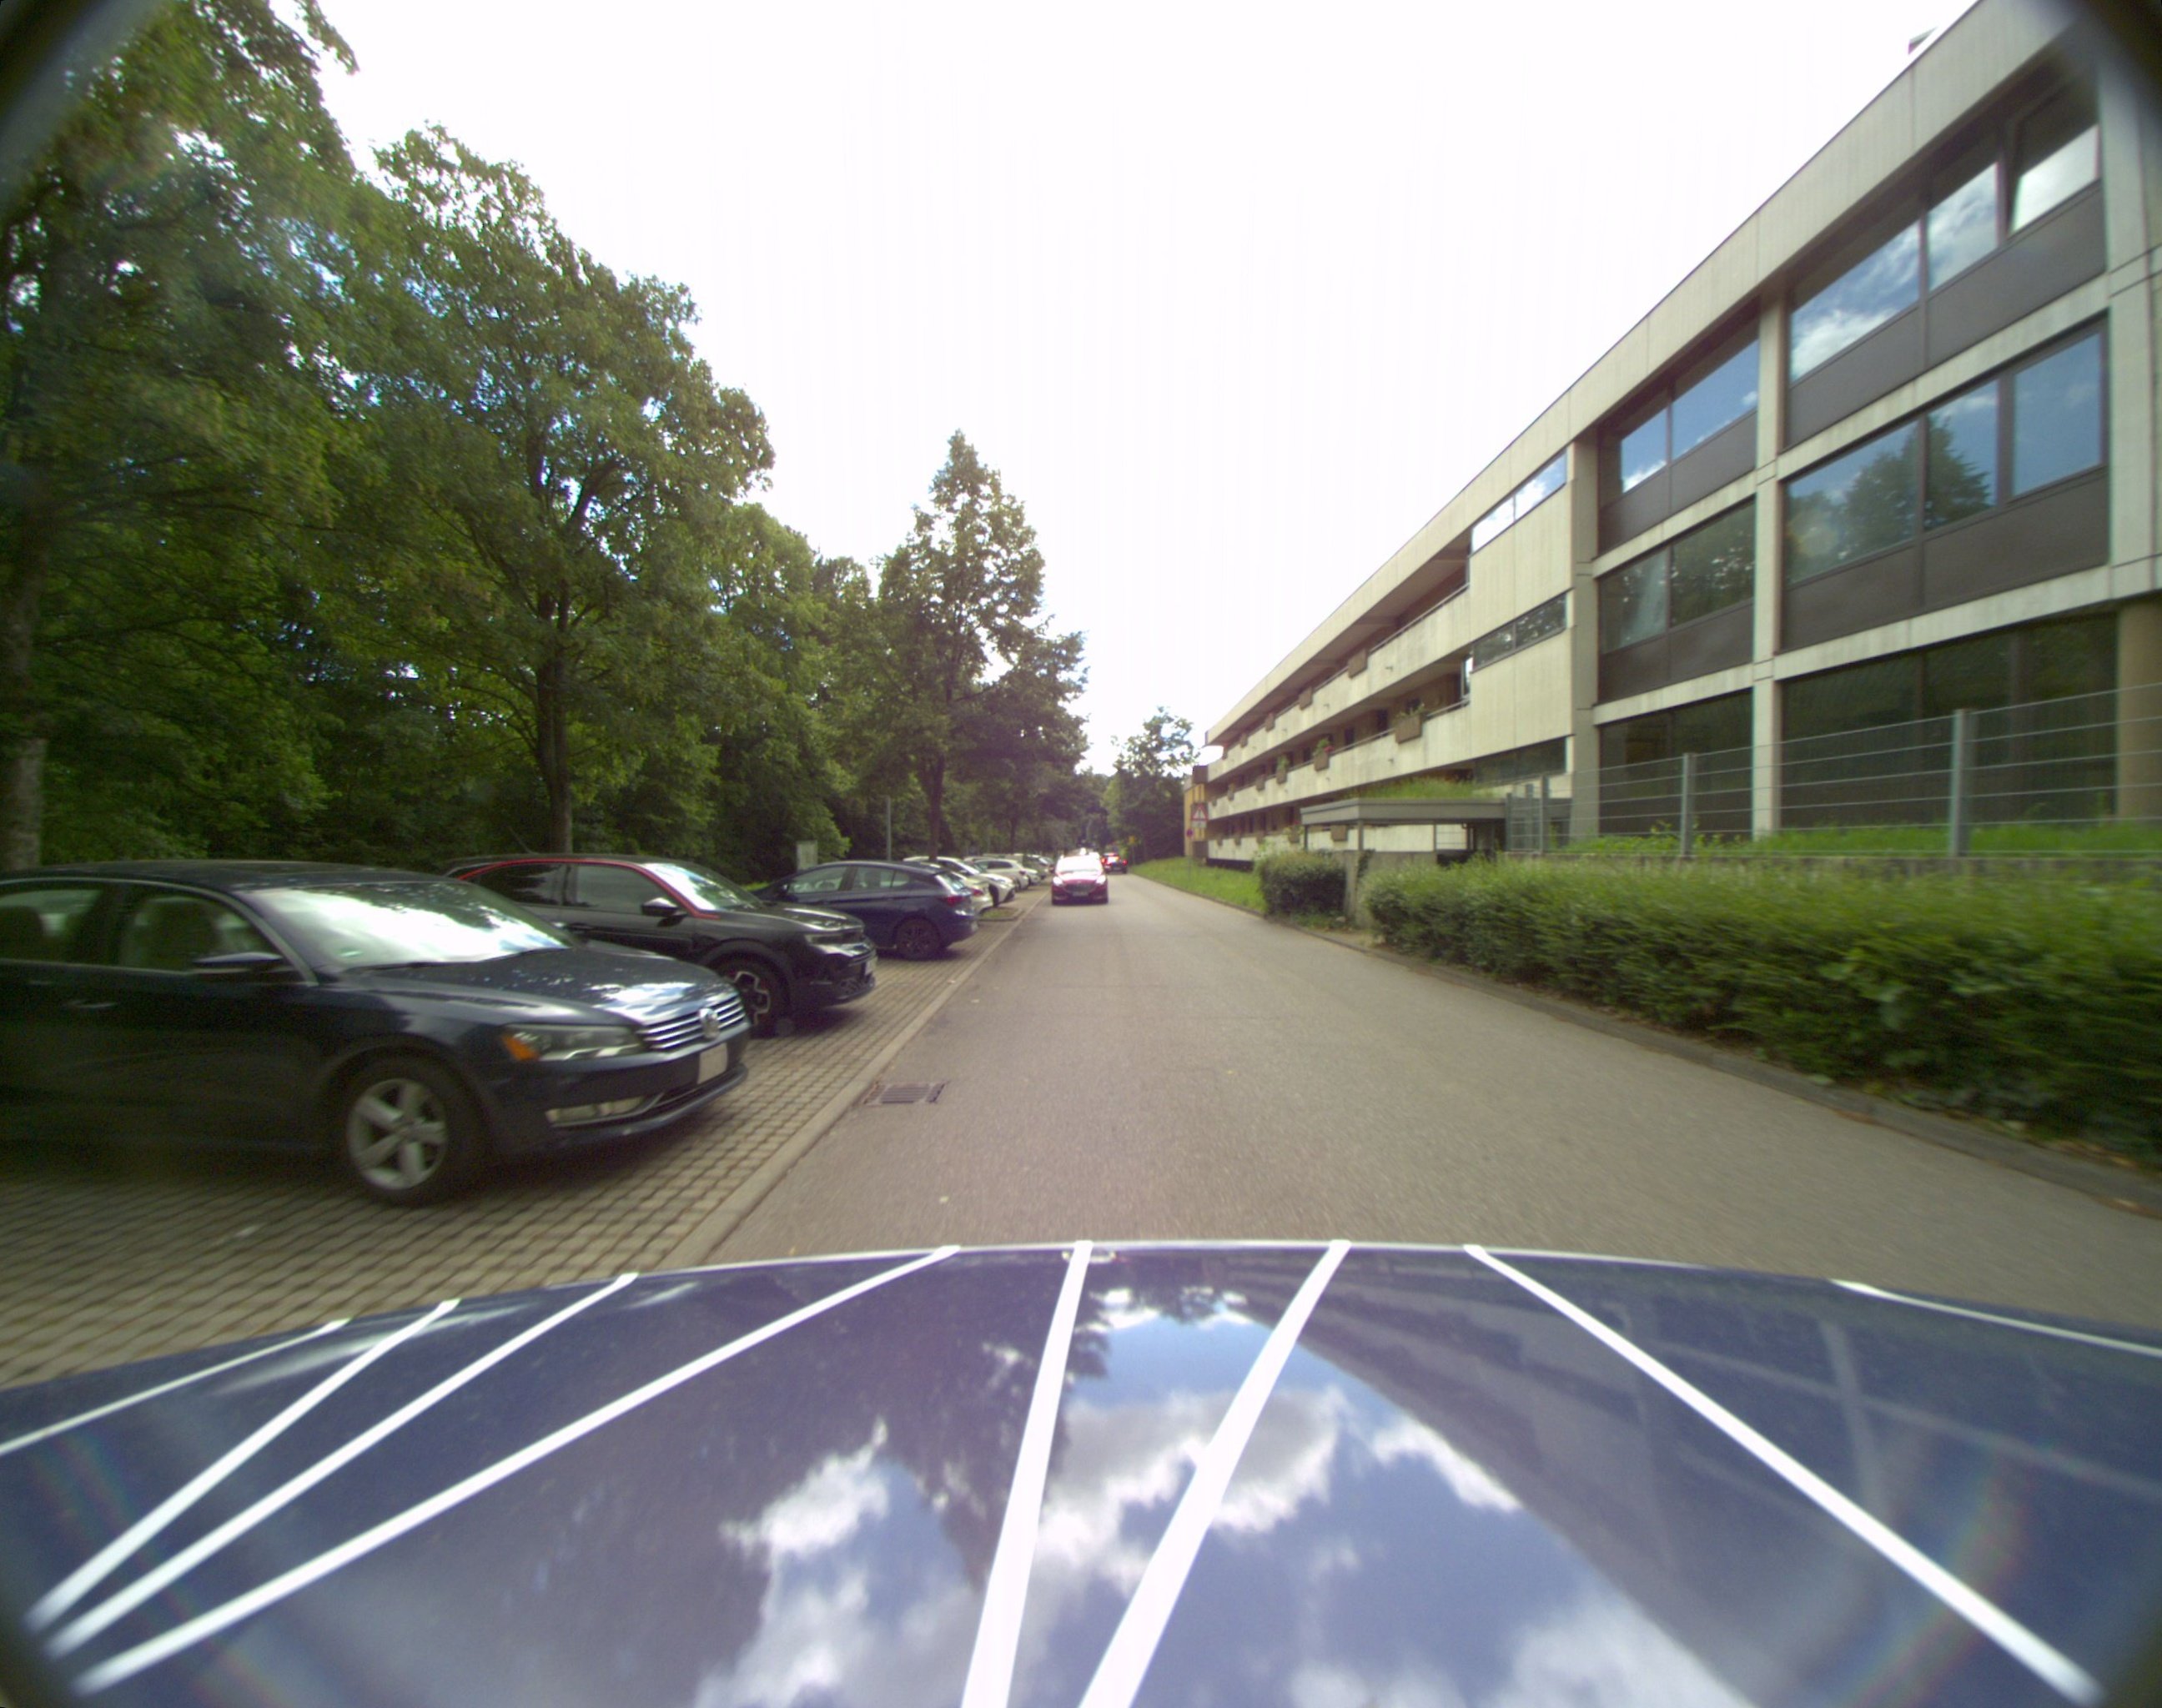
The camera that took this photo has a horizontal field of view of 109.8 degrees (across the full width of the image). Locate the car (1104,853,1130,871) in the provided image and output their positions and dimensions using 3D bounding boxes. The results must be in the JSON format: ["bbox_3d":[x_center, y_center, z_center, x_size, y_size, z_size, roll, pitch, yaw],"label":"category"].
[{"bbox_3d":[3.001,0.645,63.685,1.918,1.403,4.423,-2,0,0],"label":"car"}]

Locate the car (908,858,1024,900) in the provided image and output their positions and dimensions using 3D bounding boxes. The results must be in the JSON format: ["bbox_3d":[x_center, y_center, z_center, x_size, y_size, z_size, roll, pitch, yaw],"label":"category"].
[{"bbox_3d":[-4.219,0.905,28.378,4.065,1.414,1.816,1,1,-1],"label":"car"}]

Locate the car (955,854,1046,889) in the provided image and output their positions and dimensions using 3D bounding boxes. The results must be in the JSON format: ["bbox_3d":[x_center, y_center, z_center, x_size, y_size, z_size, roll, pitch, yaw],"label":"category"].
[{"bbox_3d":[-3.738,0.831,35.922,4.124,1.539,1.860,1,1,-3],"label":"car"}]

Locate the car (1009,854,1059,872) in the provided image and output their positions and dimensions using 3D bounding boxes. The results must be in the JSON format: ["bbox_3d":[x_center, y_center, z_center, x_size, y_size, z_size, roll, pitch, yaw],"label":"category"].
[{"bbox_3d":[-3.949,0.766,64.110,4.097,1.455,1.785,0,1,-1],"label":"car"}]

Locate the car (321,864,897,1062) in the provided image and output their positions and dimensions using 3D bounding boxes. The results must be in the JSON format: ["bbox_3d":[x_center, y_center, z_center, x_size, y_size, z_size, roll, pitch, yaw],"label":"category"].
[{"bbox_3d":[-3.939,0.897,6.972,4.084,1.508,1.850,1,1,-3],"label":"car"}]

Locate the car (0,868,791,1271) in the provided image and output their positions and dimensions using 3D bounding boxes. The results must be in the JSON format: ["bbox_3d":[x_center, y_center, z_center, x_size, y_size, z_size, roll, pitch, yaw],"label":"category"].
[{"bbox_3d":[-4.286,0.878,4.097,4.647,1.508,1.983,1,0,2],"label":"car"}]

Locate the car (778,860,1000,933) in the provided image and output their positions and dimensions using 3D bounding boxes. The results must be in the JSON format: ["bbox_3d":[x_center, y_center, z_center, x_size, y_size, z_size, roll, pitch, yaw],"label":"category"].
[{"bbox_3d":[-4.191,0.912,17.095,4.497,1.446,1.846,1,1,0],"label":"car"}]

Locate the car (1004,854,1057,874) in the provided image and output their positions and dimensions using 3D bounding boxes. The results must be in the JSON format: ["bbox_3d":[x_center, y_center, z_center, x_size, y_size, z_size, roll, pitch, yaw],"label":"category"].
[{"bbox_3d":[-4.055,0.771,61.461,4.146,1.561,1.785,0,1,-1],"label":"car"}]

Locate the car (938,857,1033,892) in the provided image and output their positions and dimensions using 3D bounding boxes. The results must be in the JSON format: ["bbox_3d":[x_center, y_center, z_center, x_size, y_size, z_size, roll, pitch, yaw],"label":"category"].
[{"bbox_3d":[-4.163,0.893,33.493,4.020,1.414,1.791,1,1,-5],"label":"car"}]

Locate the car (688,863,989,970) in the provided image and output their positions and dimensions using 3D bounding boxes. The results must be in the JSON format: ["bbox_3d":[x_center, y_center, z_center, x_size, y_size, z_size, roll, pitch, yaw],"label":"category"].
[{"bbox_3d":[-3.615,0.905,11.888,4.082,1.448,1.851,1,1,1],"label":"car"}]

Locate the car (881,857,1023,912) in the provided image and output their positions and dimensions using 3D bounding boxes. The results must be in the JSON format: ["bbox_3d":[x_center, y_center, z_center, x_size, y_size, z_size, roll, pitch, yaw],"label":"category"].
[{"bbox_3d":[-3.808,0.874,22.893,3.849,1.507,1.881,1,1,3],"label":"car"}]

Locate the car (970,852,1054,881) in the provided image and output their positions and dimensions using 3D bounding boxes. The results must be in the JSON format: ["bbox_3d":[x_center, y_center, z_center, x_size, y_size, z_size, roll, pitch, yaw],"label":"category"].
[{"bbox_3d":[-4.151,0.749,46.411,4.828,1.683,1.974,1,1,3],"label":"car"}]

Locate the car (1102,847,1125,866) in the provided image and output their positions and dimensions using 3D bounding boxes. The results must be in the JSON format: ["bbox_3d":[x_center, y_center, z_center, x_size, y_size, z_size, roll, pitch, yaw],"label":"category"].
[{"bbox_3d":[3.093,0.241,73.501,1.918,1.707,5.058,-2,0,0],"label":"car"}]

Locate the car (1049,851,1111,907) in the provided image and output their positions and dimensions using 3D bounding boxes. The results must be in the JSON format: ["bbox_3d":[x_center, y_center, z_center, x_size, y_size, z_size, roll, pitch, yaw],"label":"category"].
[{"bbox_3d":[-0.026,0.784,26.491,1.918,1.707,5.038,-2,0,0],"label":"car"}]

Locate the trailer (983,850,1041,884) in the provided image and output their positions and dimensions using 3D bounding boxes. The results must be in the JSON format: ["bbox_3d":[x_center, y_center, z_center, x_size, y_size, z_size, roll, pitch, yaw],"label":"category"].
[{"bbox_3d":[-3.695,0.672,41.208,3.038,1.780,1.563,1,1,-3],"label":"trailer"}]
